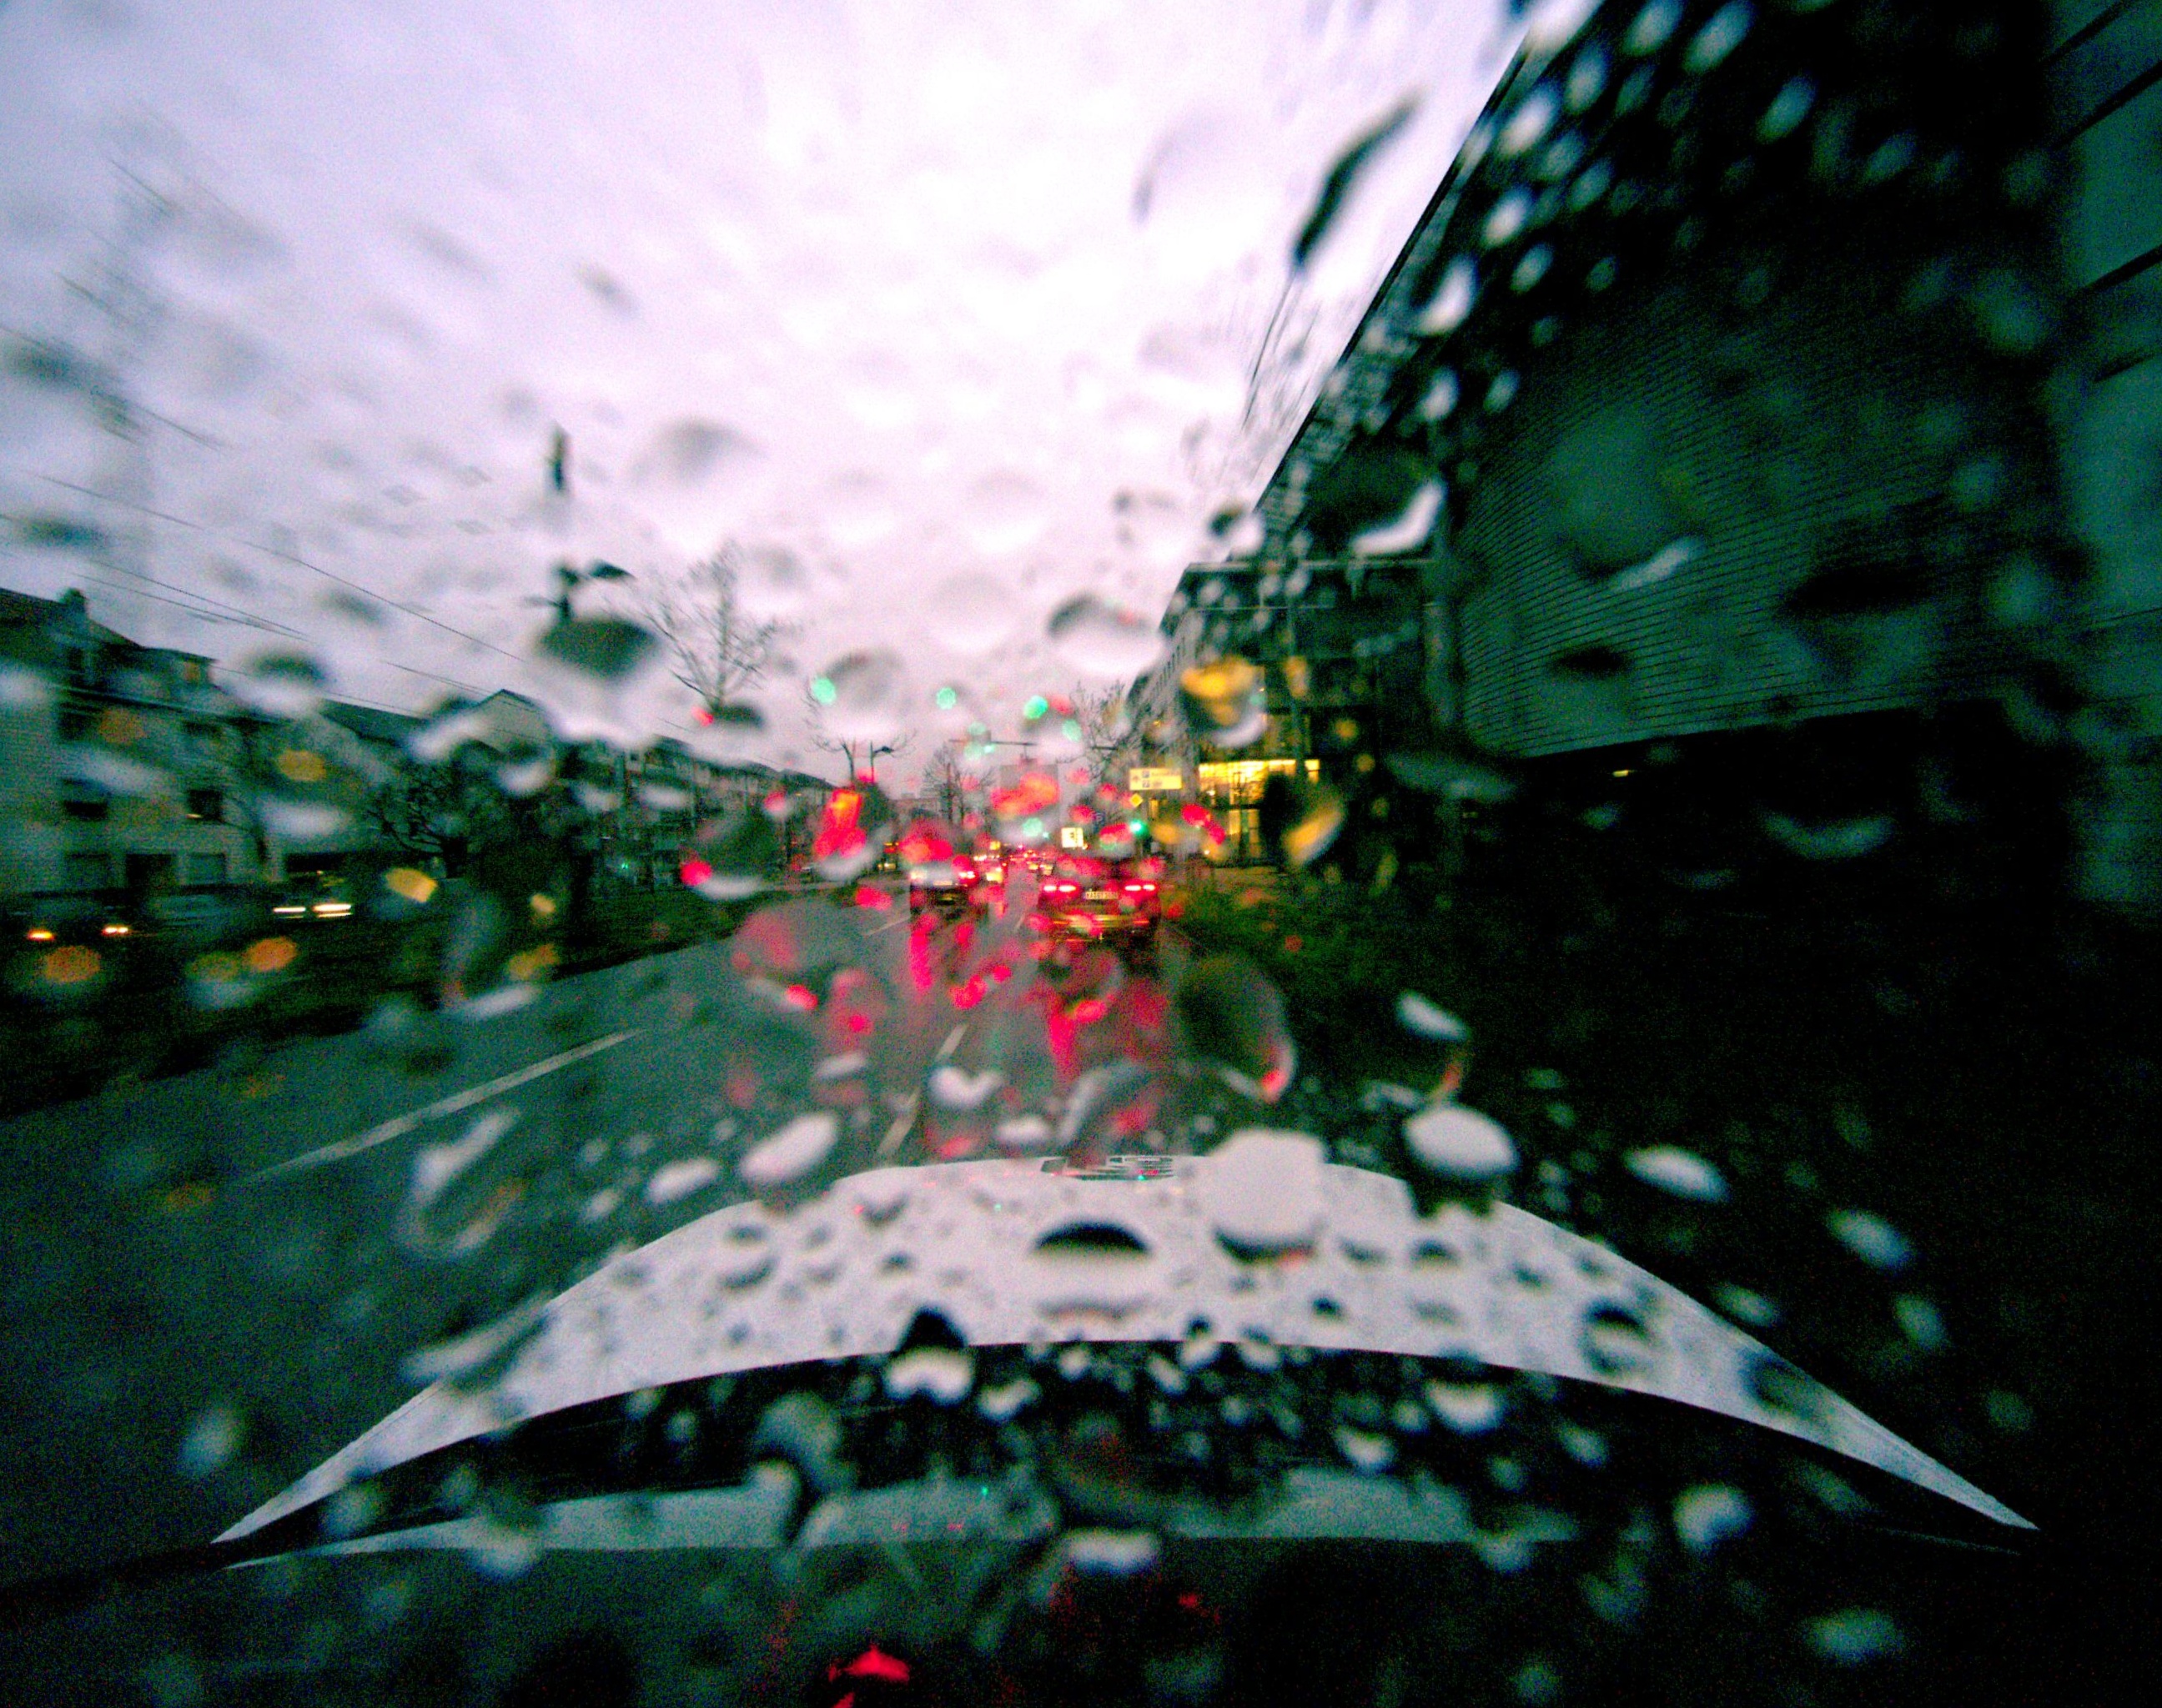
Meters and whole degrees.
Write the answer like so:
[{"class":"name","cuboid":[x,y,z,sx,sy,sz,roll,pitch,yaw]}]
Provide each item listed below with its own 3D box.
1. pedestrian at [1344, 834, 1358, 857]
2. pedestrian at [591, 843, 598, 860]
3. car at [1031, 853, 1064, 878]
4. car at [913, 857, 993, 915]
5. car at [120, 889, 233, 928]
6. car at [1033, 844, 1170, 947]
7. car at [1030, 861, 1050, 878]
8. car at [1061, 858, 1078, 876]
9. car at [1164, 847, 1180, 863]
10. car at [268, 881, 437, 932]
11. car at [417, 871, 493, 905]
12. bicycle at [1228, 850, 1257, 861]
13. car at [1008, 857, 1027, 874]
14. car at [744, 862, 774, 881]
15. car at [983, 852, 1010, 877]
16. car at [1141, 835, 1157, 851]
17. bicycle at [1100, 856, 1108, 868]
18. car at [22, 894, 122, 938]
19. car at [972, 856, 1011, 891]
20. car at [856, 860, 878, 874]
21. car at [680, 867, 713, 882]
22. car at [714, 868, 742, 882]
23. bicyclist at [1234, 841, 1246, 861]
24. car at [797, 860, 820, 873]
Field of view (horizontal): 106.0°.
[{"class":"pedestrian","cuboid":[19.332,-0.608,58.334,0.805,1.654,0.726,0,0,0]},{"class":"pedestrian","cuboid":[-33.795,-0.158,56.531,0.348,1.184,0.429,0,-1,-43]},{"class":"car","cuboid":[-2.128,0.692,52.383,1.860,1.543,3.611,0,0,1]},{"class":"car","cuboid":[-3.481,0.818,22.788,1.814,1.450,3.995,0,0,-4]},{"class":"car","cuboid":[-31.115,1.832,28.006,4.136,1.116,1.691,0,0,29]},{"class":"car","cuboid":[0.240,0.600,13.650,1.988,1.483,3.697,0,0,-2]},{"class":"car","cuboid":[-3.754,1.384,74.800,1.553,1.460,3.113,0,0,2]},{"class":"car","cuboid":[-1.195,1.325,83.569,1.569,1.705,3.704,0,0,2]},{"class":"car","cuboid":[10.181,0.074,91.381,1.620,1.759,3.424,0,0,3]},{"class":"car","cuboid":[-25.822,1.799,29.133,1.876,1.502,4.785,0,0,-3]},{"class":"car","cuboid":[-31.459,1.679,40.904,3.749,1.555,1.753,0,0,30]},{"class":"bicycle","cuboid":[10.545,0.109,53.149,1.711,0.745,0.655,0,0,32]},{"class":"car","cuboid":[-7.983,1.455,102.649,1.987,2.013,3.999,0,0,0]},{"class":"car","cuboid":[-35.231,1.870,89.210,1.991,2.013,3.992,0,0,-6]},{"class":"car","cuboid":[-6.069,0.740,58.868,1.657,1.759,3.566,0,-1,-1]},{"class":"car","cuboid":[7.626,-1.172,91.492,1.620,1.759,3.424,0,0,3]},{"class":"bicycle","cuboid":[2.040,0.702,71.913,0.544,0.965,1.344,0,0,-4]},{"class":"car","cuboid":[-30.958,1.873,24.985,3.006,1.147,1.406,0,0,29]},{"class":"car","cuboid":[-4.449,0.933,40.819,1.685,1.635,3.471,0,0,-2]},{"class":"car","cuboid":[-21.843,1.332,83.059,1.441,1.342,3.633,0,0,-3]},{"class":"car","cuboid":[-34.799,1.870,73.786,1.441,1.287,3.382,0,0,-3]},{"class":"car","cuboid":[-34.784,2.081,80.300,1.441,1.287,3.382,0,0,-3]},{"class":"bicyclist","cuboid":[10.388,-0.207,53.272,0.615,1.330,0.569,0,0,31]},{"class":"car","cuboid":[-35.282,1.651,105.474,1.929,1.597,3.720,0,0,-5]}]
